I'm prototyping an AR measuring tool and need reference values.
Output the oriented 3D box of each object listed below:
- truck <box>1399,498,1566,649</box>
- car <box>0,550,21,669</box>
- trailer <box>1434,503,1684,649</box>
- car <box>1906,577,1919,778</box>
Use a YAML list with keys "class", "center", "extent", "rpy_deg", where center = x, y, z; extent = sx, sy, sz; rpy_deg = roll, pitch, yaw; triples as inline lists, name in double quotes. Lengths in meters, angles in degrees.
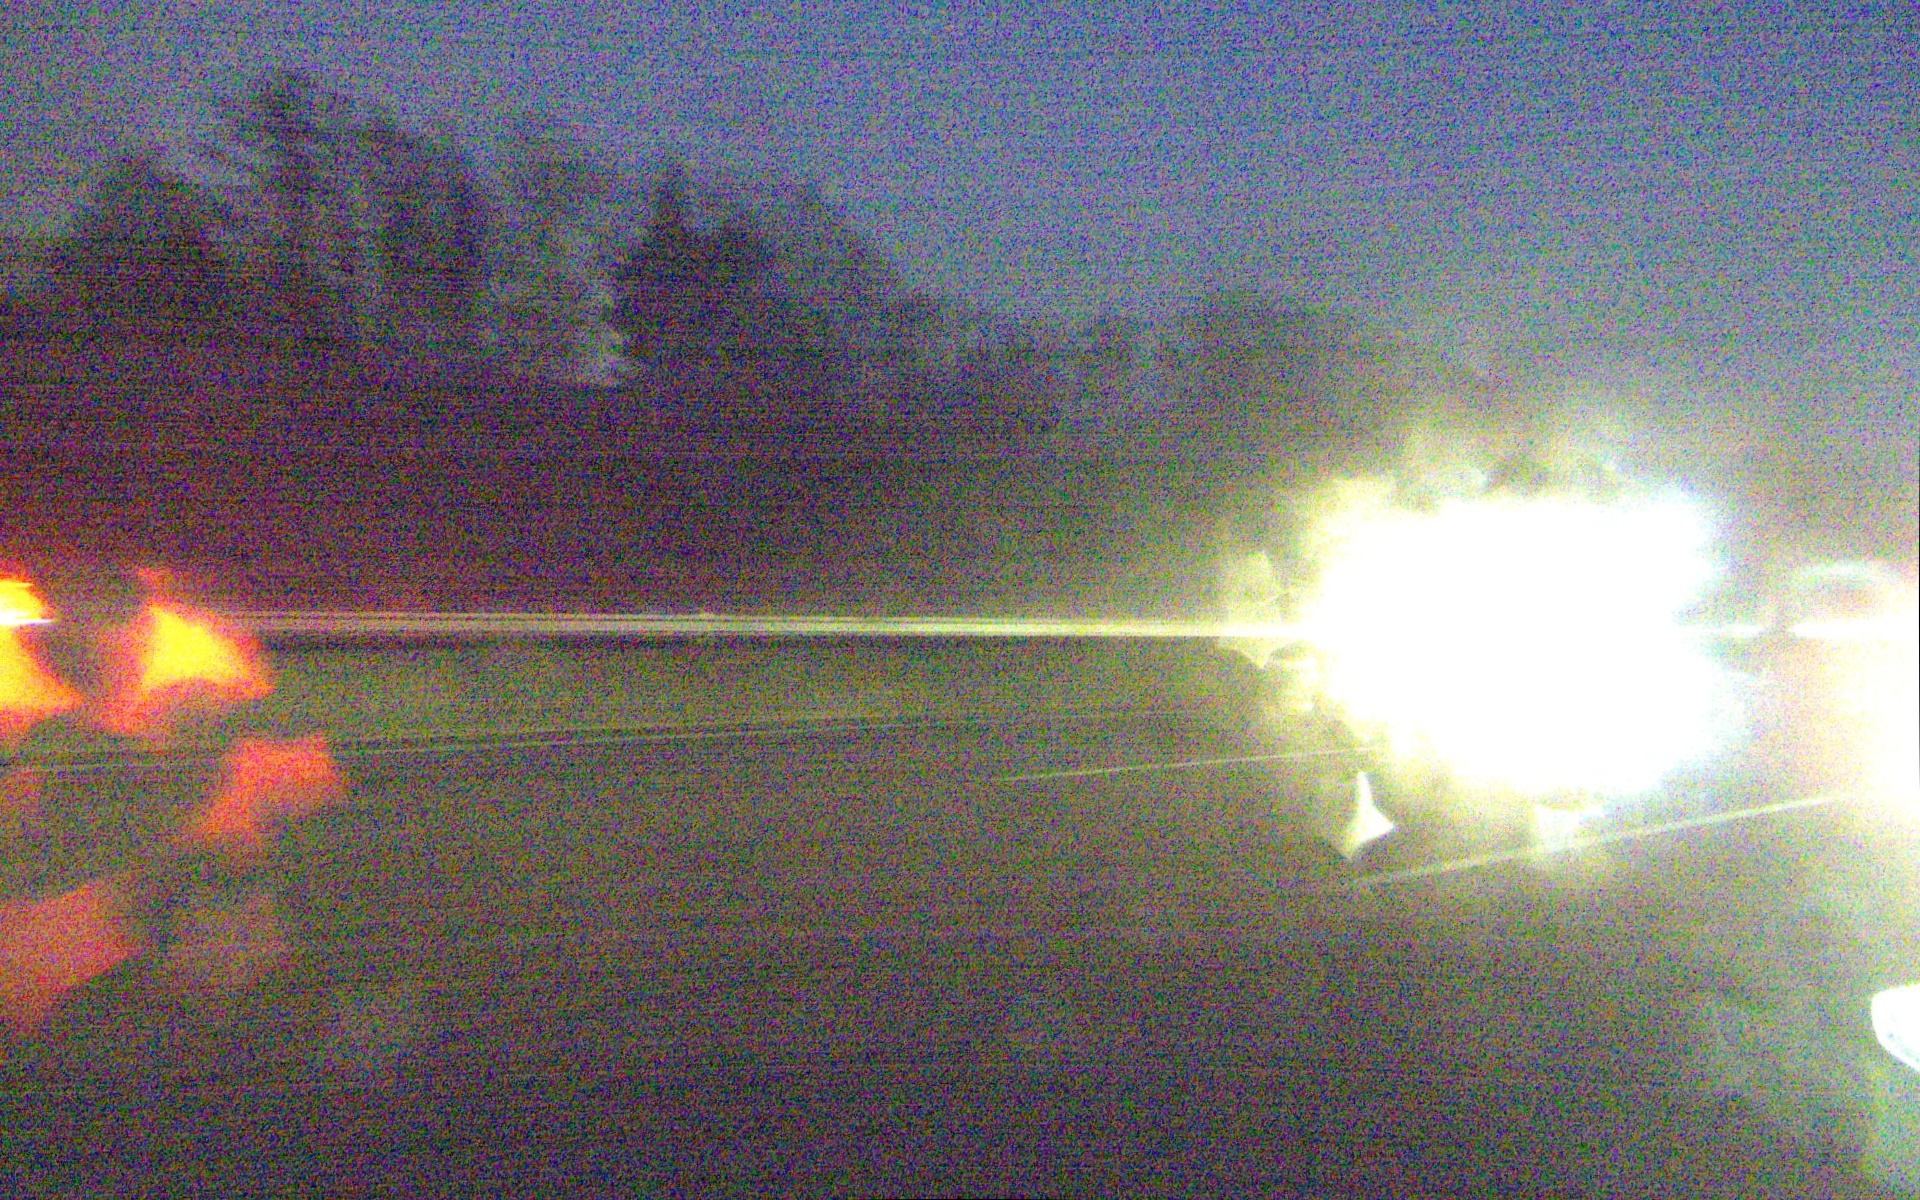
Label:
- class: "truck"
  center: [23.015, -1.140, 44.250]
  extent: [6.101, 6.211, 3.444]
  rpy_deg: [1, 4, -31]
- class: "car"
  center: [-14.980, 0.094, 12.378]
  extent: [4.620, 1.617, 1.983]
  rpy_deg: [1, 2, -31]
- class: "trailer"
  center: [28.639, -0.987, 47.635]
  extent: [14.242, 6.211, 3.444]
  rpy_deg: [1, 4, -31]
- class: "car"
  center: [11.328, 0.780, 9.511]
  extent: [5.060, 1.816, 1.945]
  rpy_deg: [2, 0, -28]
